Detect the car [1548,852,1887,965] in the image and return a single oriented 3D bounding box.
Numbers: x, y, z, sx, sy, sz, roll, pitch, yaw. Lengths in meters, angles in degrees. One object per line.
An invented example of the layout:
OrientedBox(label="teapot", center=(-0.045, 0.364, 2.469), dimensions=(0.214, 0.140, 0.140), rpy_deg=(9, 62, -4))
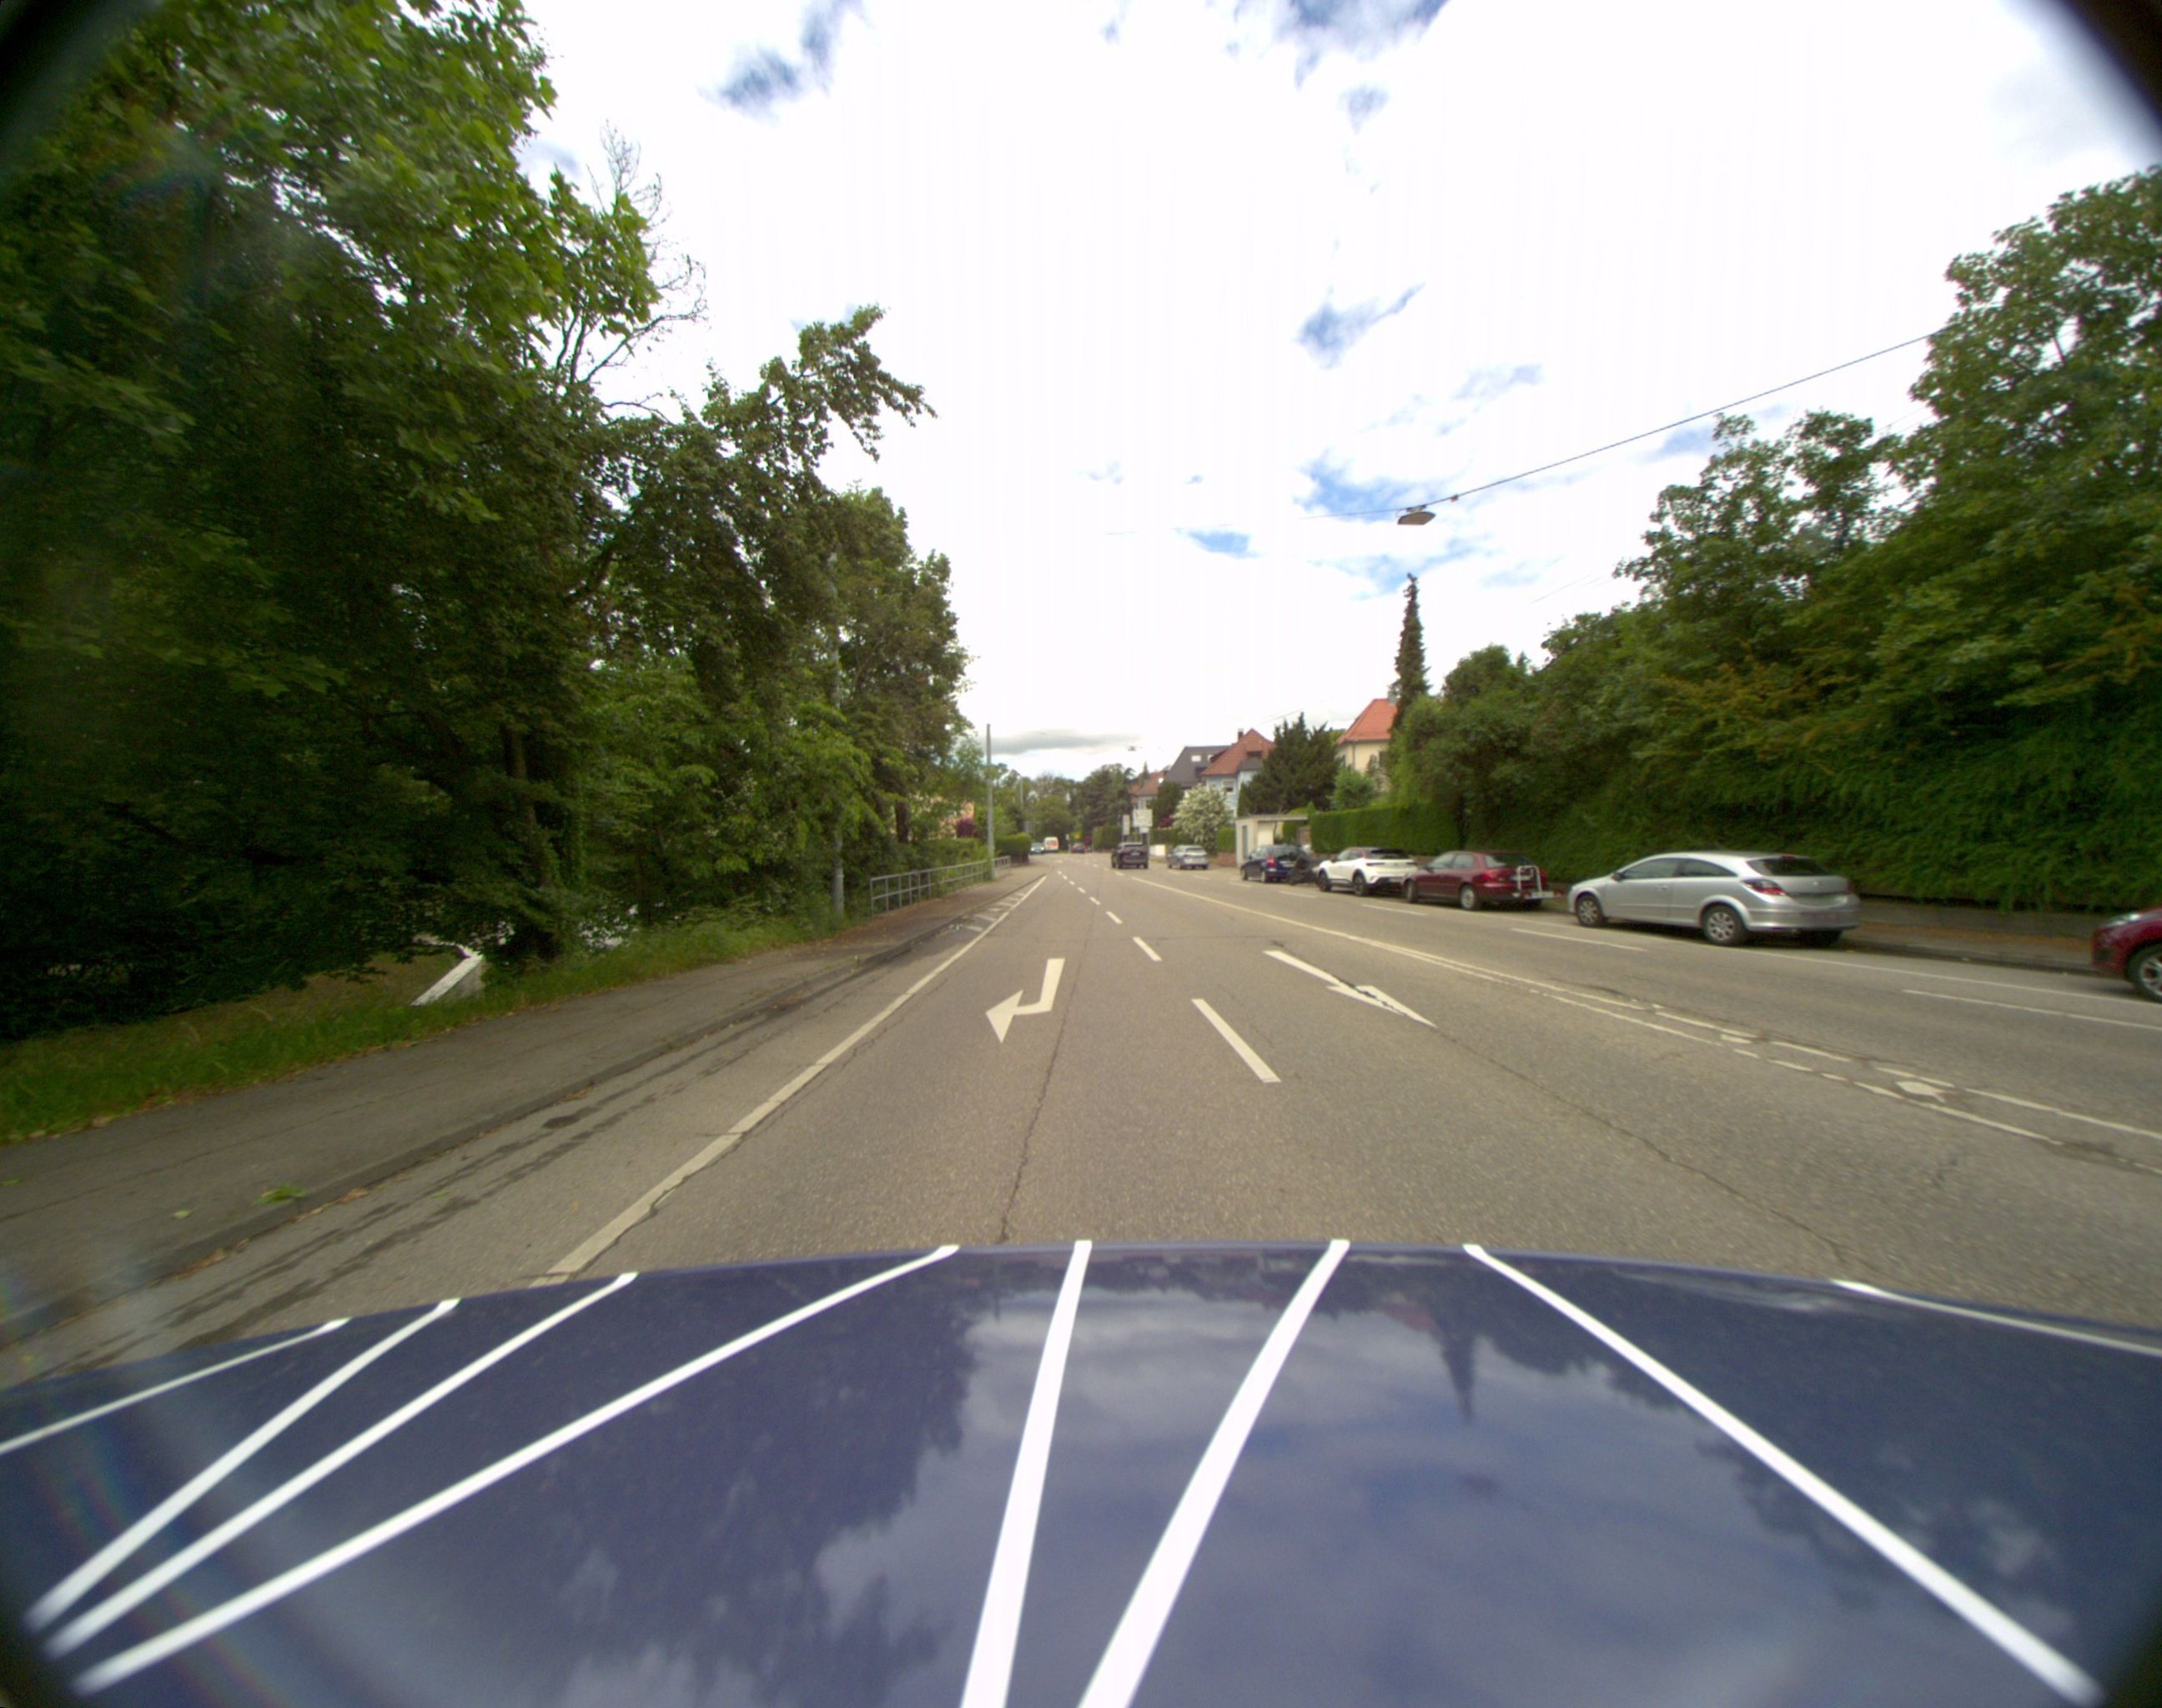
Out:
OrientedBox(label="car", center=(10.194, 0.742, 12.731), dimensions=(1.674, 1.480, 4.427), rpy_deg=(0, 1, -6))

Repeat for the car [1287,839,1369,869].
OrientedBox(label="car", center=(12.579, -0.009, 38.861), dimensions=(3.596, 1.383, 1.849), rpy_deg=(-1, 1, 3))

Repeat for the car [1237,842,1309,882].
OrientedBox(label="car", center=(8.044, 0.280, 32.267), dimensions=(1.684, 1.547, 3.968), rpy_deg=(0, 2, -6))

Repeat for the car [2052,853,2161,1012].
OrientedBox(label="car", center=(10.943, 0.744, 5.799), dimensions=(1.785, 1.430, 3.997), rpy_deg=(-1, 1, -7))

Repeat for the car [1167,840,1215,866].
OrientedBox(label="car", center=(6.647, -0.096, 46.398), dimensions=(1.815, 1.447, 4.409), rpy_deg=(1, 1, -7))

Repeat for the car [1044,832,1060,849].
OrientedBox(label="car", center=(-4.551, -2.102, 119.100), dimensions=(2.118, 2.484, 6.119), rpy_deg=(-1, 1, -6))

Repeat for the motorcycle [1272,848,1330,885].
OrientedBox(label="motorcycle", center=(8.300, 0.483, 28.746), dimensions=(0.890, 1.347, 2.302), rpy_deg=(0, -1, -22))

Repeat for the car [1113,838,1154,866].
OrientedBox(label="car", center=(3.256, -0.164, 47.881), dimensions=(1.848, 1.638, 4.209), rpy_deg=(-1, 2, -6))

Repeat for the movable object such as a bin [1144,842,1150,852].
OrientedBox(label="movable object such as a bin", center=(6.681, -0.692, 76.542), dimensions=(0.509, 0.968, 0.540), rpy_deg=(-1, 2, -3))

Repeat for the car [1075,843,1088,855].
OrientedBox(label="car", center=(0.140, -0.760, 105.432), dimensions=(1.738, 1.545, 4.446), rpy_deg=(-1, 1, 1))

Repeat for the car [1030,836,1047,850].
OrientedBox(label="car", center=(-5.900, -1.467, 105.828), dimensions=(1.864, 1.855, 4.607), rpy_deg=(-1, 0, -10))

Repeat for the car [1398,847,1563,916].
OrientedBox(label="car", center=(9.632, 0.587, 18.698), dimensions=(1.675, 1.470, 3.908), rpy_deg=(-1, 1, -7))

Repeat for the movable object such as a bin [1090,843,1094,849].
OrientedBox(label="movable object such as a bin", center=(1.840, -1.360, 126.994), dimensions=(0.479, 1.029, 0.717), rpy_deg=(-2, 1, 22))

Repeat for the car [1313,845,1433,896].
OrientedBox(label="car", center=(9.104, 0.449, 24.087), dimensions=(1.895, 1.486, 4.023), rpy_deg=(0, 1, -7))
